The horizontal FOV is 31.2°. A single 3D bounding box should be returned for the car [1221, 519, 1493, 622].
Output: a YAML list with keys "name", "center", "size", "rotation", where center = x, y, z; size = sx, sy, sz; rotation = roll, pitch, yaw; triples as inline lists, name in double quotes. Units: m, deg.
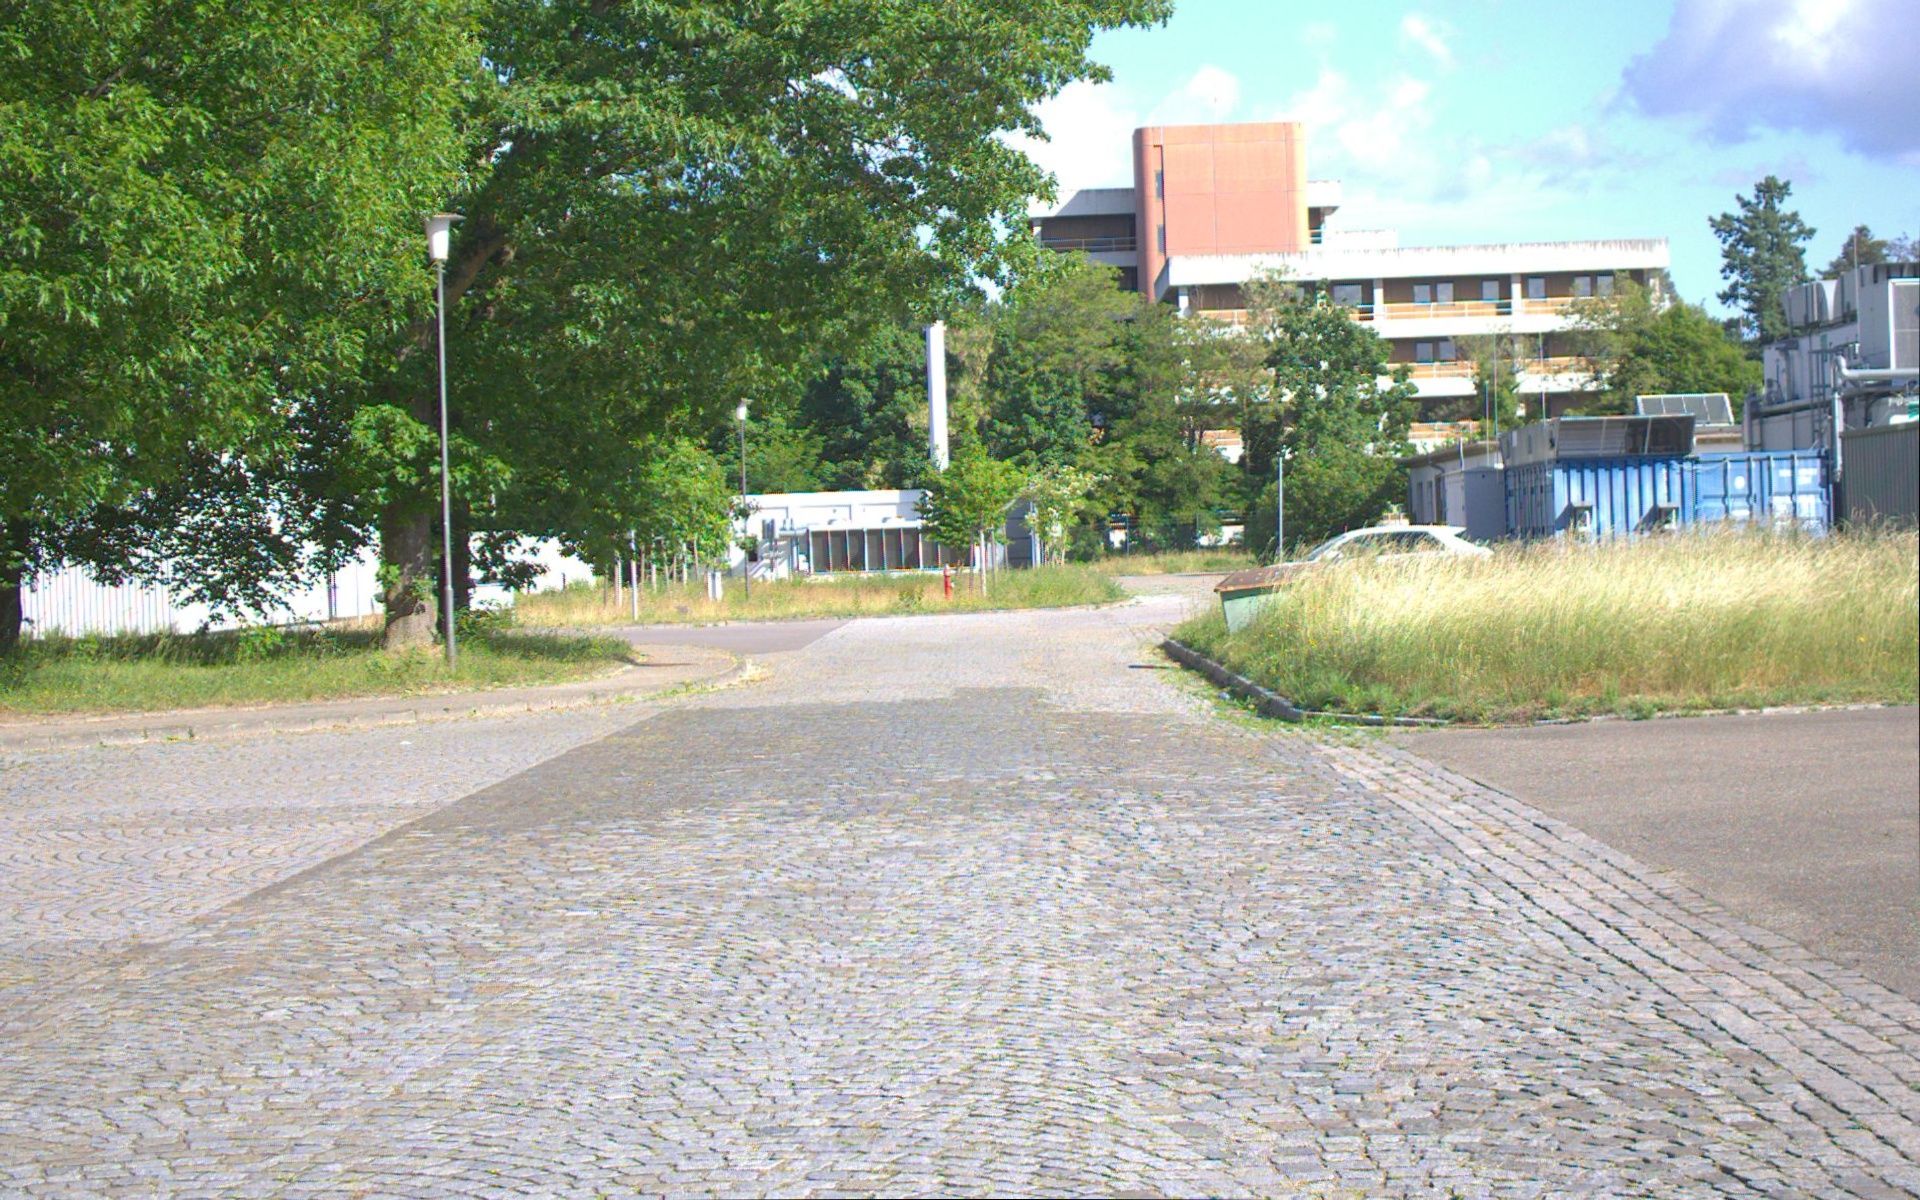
- name: "car"
  center: [6.988, -0.533, 60.830]
  size: [4.504, 1.642, 2.000]
  rotation: [-2, 1, -1]
